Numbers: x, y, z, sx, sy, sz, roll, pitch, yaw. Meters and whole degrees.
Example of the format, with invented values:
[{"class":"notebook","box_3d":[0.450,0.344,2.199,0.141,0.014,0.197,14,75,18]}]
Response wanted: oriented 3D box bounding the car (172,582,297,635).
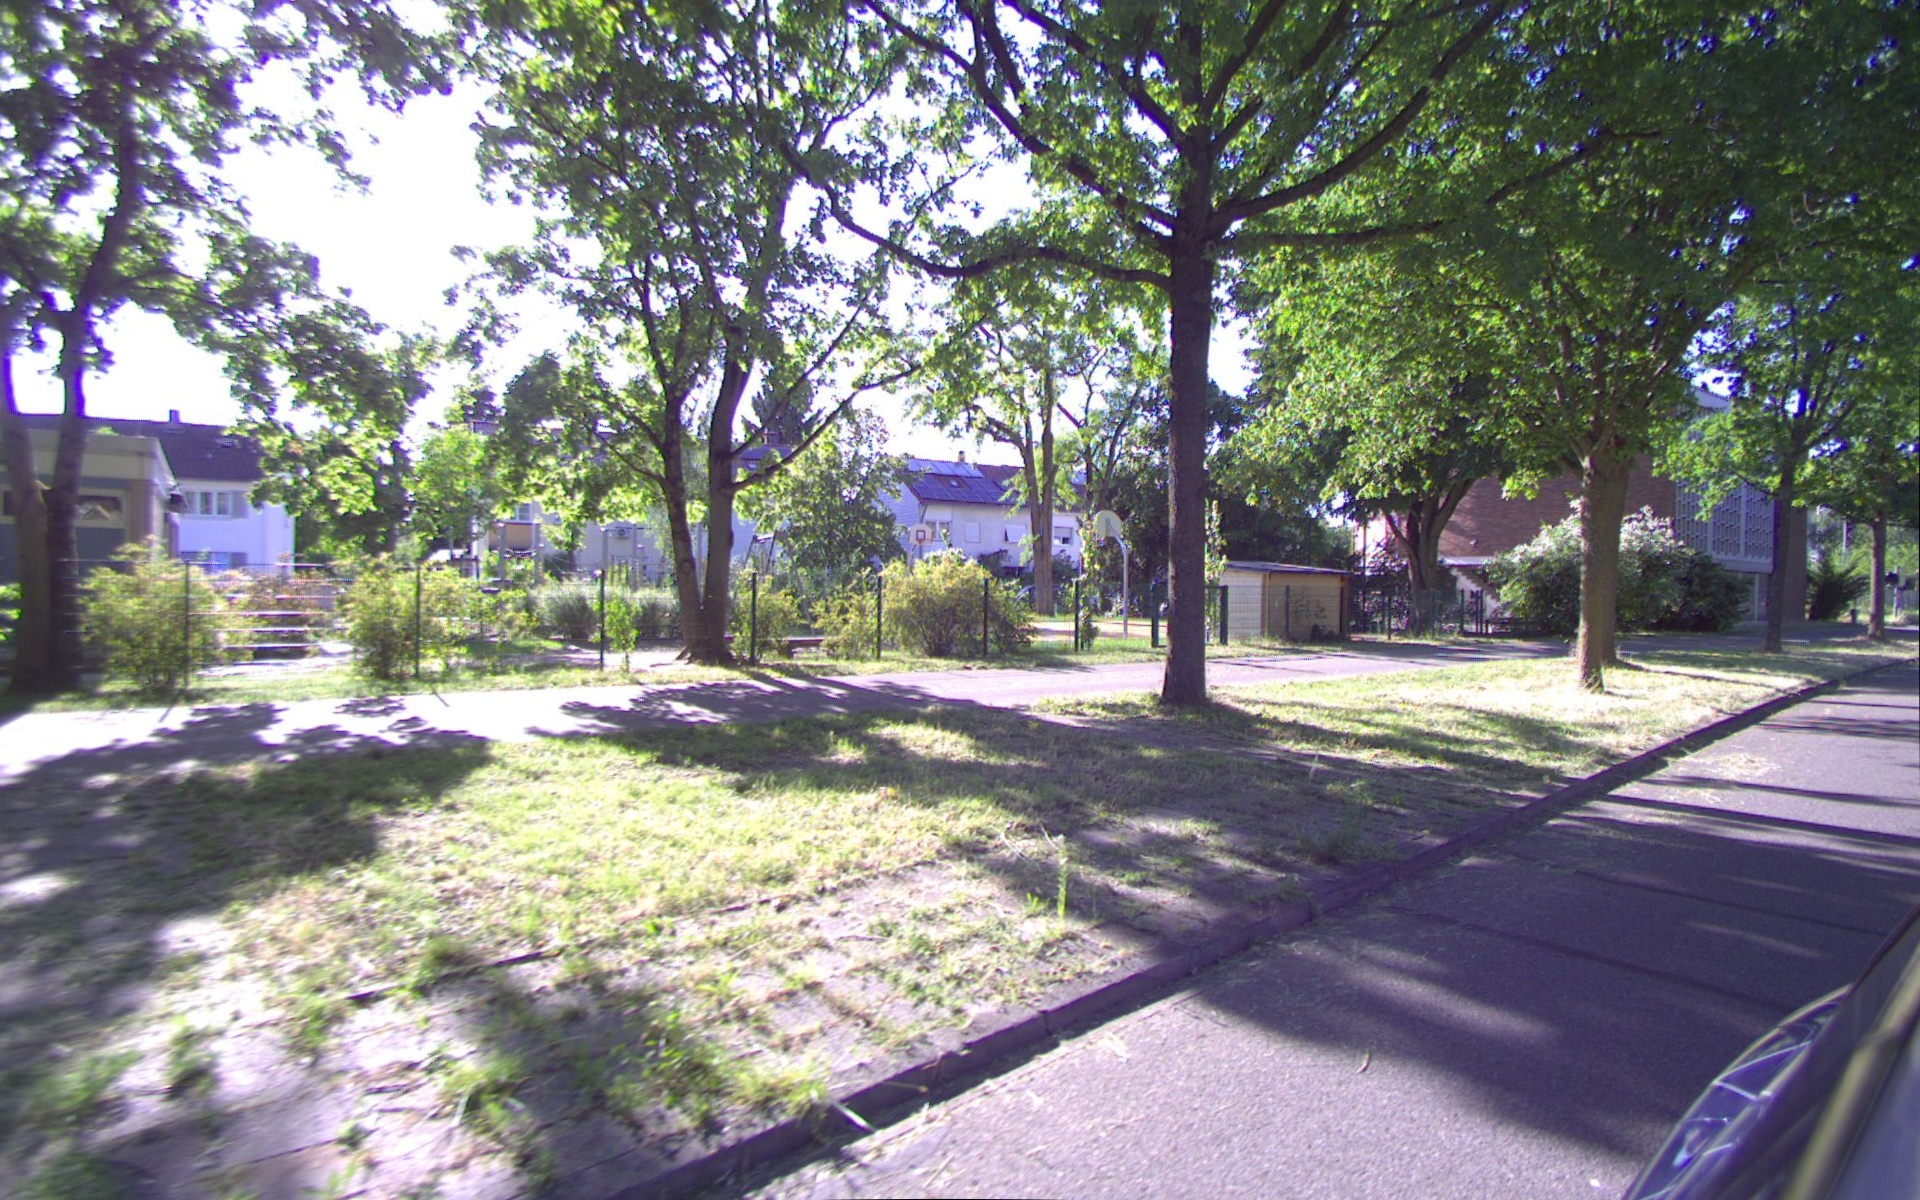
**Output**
[{"class":"car","box_3d":[-28.508,0.309,39.928,3.924,1.972,2.000,-1,0,-35]}]
